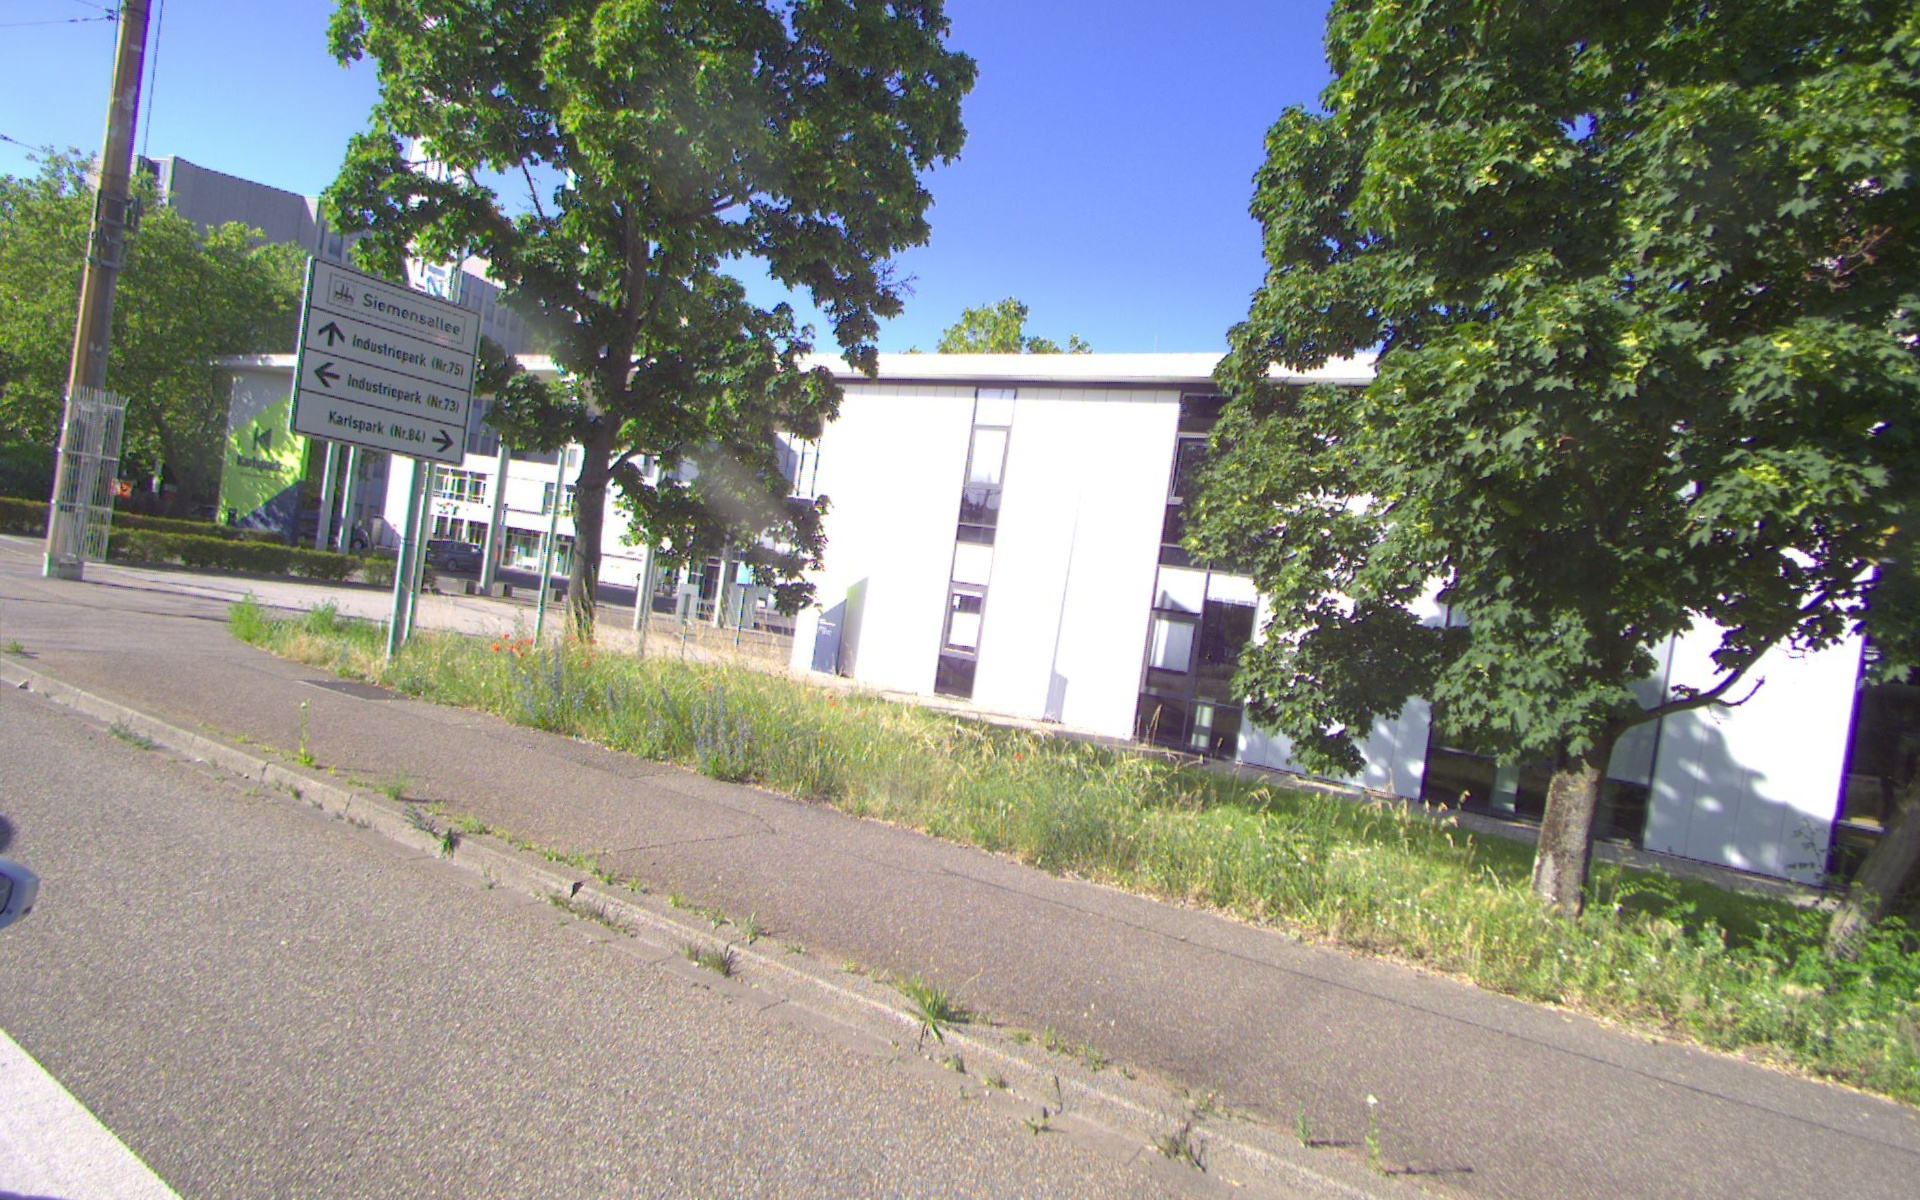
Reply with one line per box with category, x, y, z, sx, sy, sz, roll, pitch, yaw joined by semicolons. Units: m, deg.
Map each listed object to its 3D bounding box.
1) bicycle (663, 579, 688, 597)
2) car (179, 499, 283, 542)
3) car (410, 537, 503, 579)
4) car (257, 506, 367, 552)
bicycle;-20.261;-0.862;71.666;1.591;1.016;0.566;8;0;17
car;-42.656;-4.638;58.963;1.861;1.706;4.468;8;-1;26
car;-26.678;-2.208;53.448;1.918;1.597;4.000;8;-1;23
car;-36.280;-3.952;56.504;2.052;1.778;4.900;8;-1;17
